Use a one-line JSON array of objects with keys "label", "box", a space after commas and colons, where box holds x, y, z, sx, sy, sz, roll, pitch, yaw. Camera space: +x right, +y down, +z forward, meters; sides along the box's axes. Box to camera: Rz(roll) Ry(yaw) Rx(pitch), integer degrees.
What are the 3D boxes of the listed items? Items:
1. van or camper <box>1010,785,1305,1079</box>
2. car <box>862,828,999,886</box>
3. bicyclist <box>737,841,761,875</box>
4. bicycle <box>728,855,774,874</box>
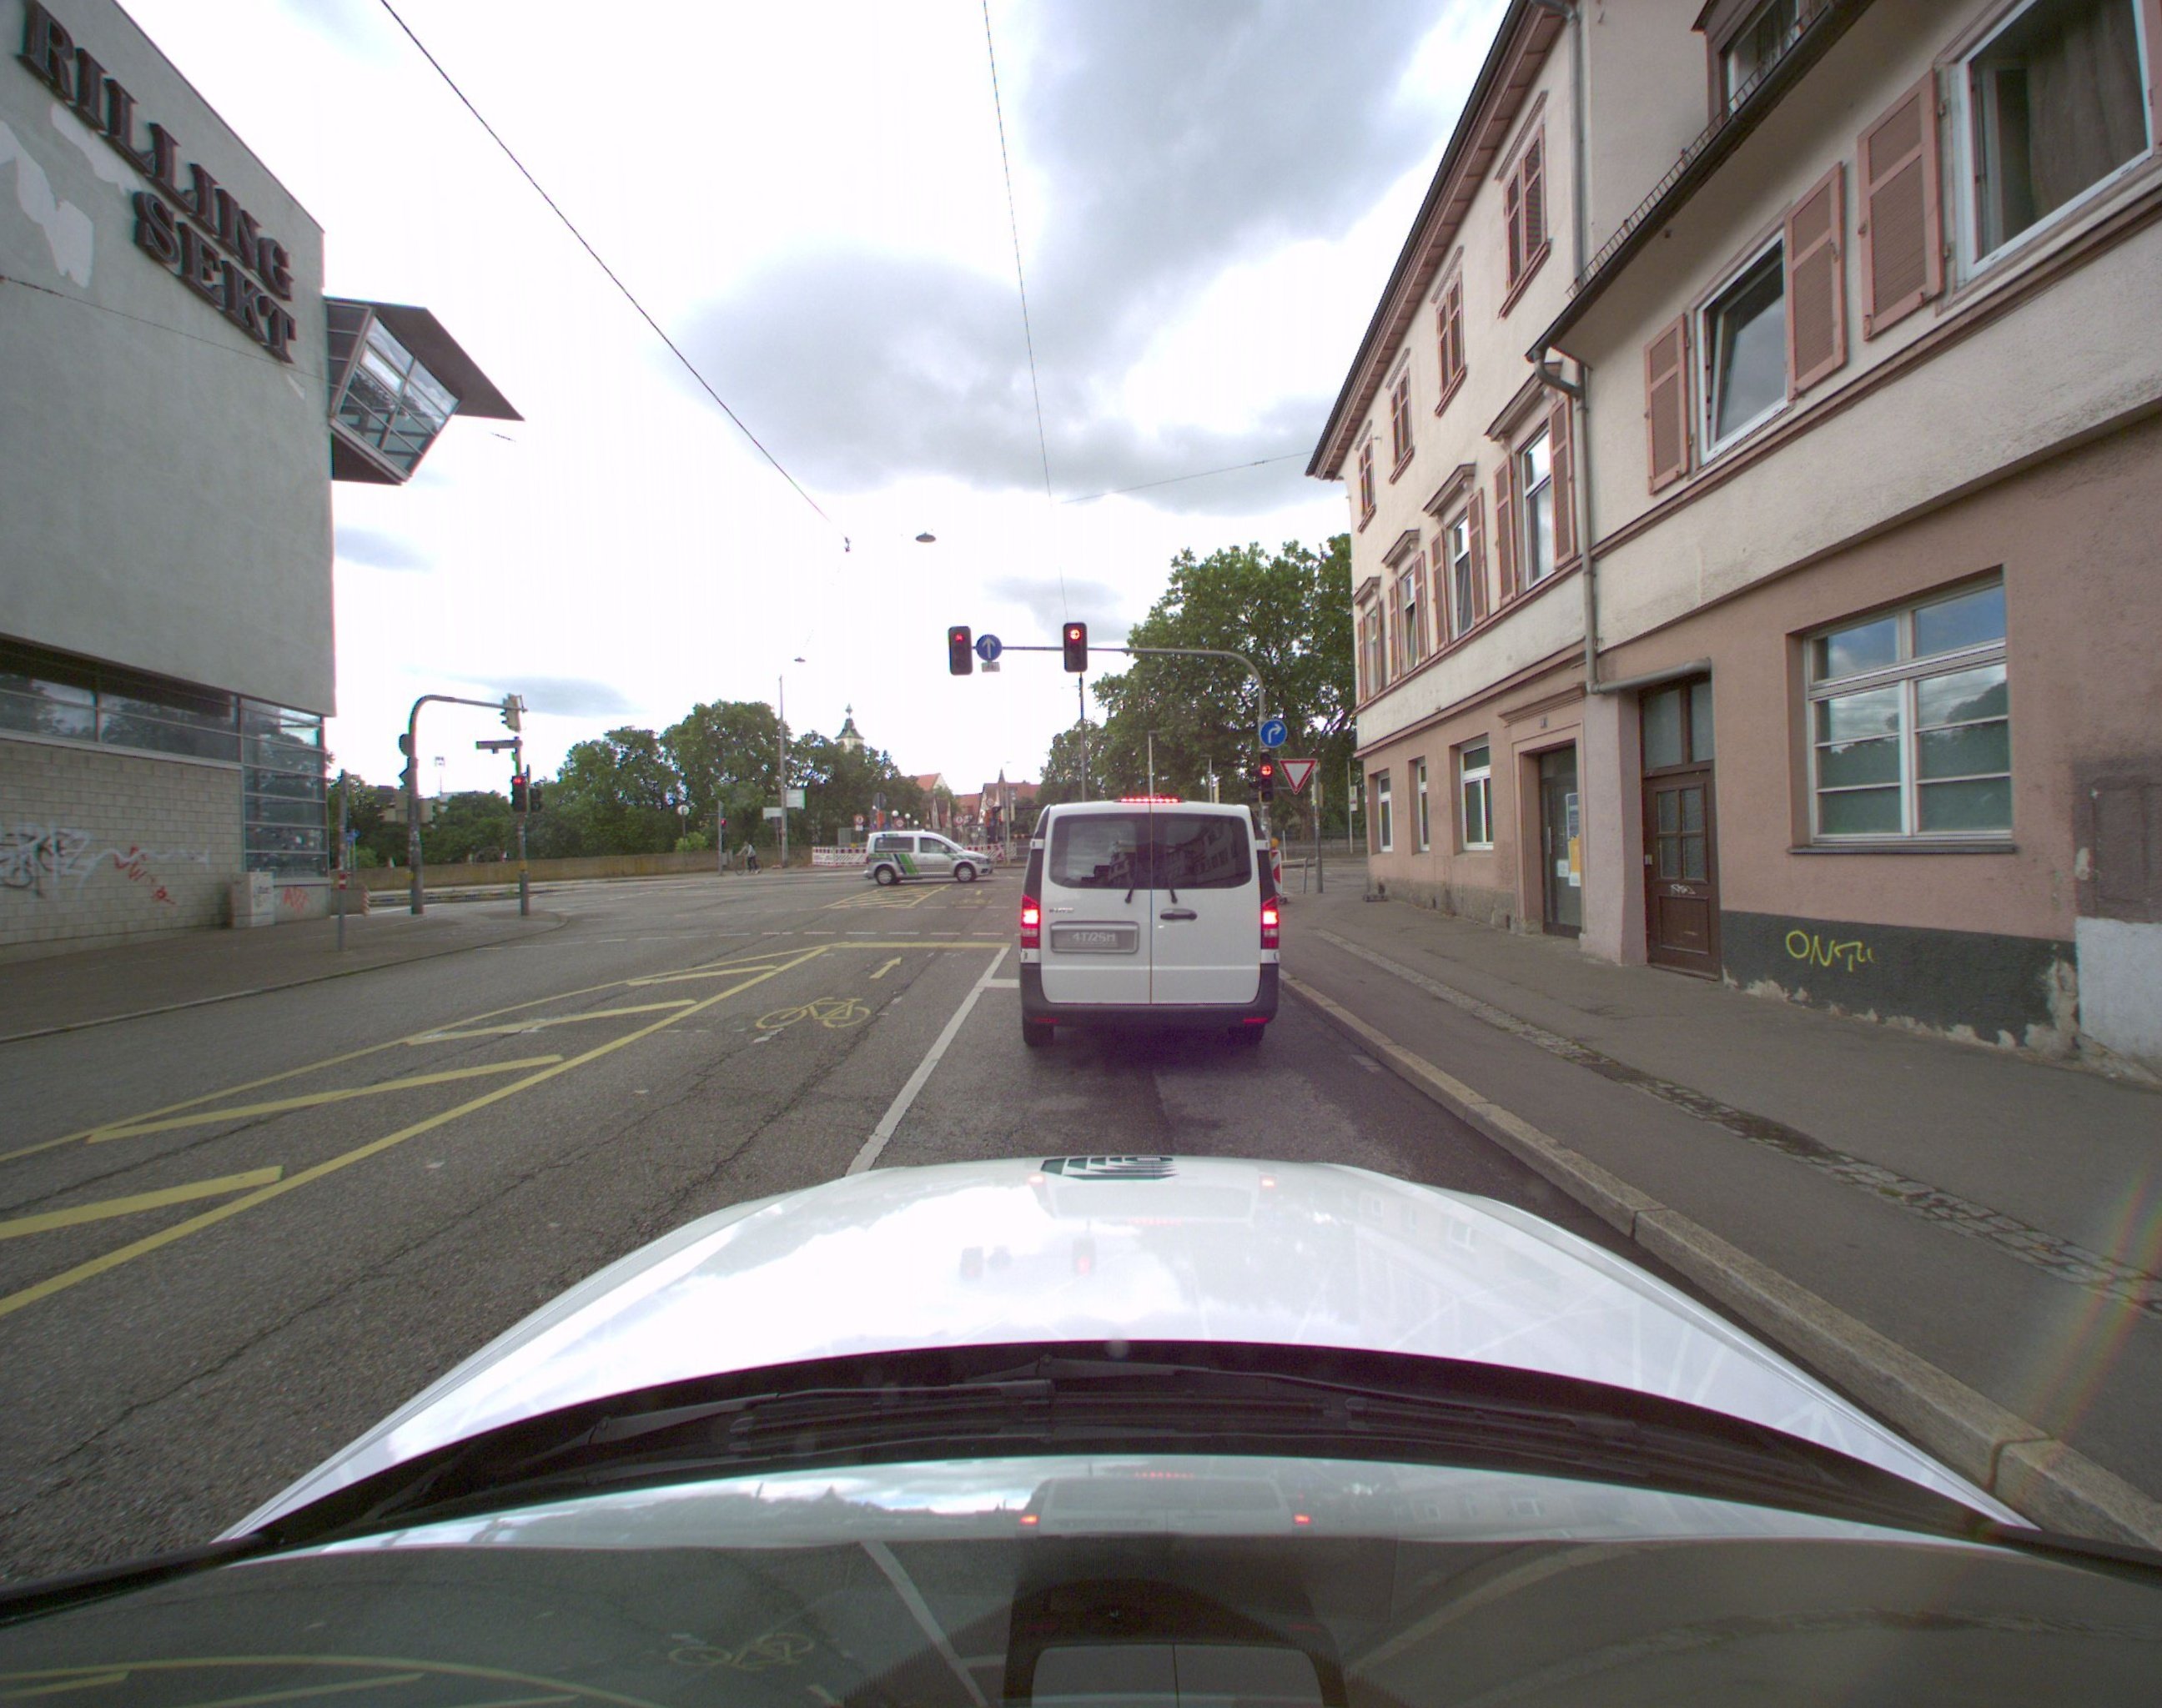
[{"label": "van or camper", "box": [0.541, 0.525, 7.582, 1.931, 1.924, 4.441, 0, 0, 1]}, {"label": "car", "box": [-5.129, 0.081, 28.210, 4.335, 1.802, 1.999, -2, 1, -2]}, {"label": "bicyclist", "box": [-17.799, 0.199, 43.658, 1.010, 1.743, 0.746, -2, 1, -40]}, {"label": "bicycle", "box": [-17.730, 0.562, 43.719, 2.149, 0.892, 0.751, -3, 2, -39]}]
